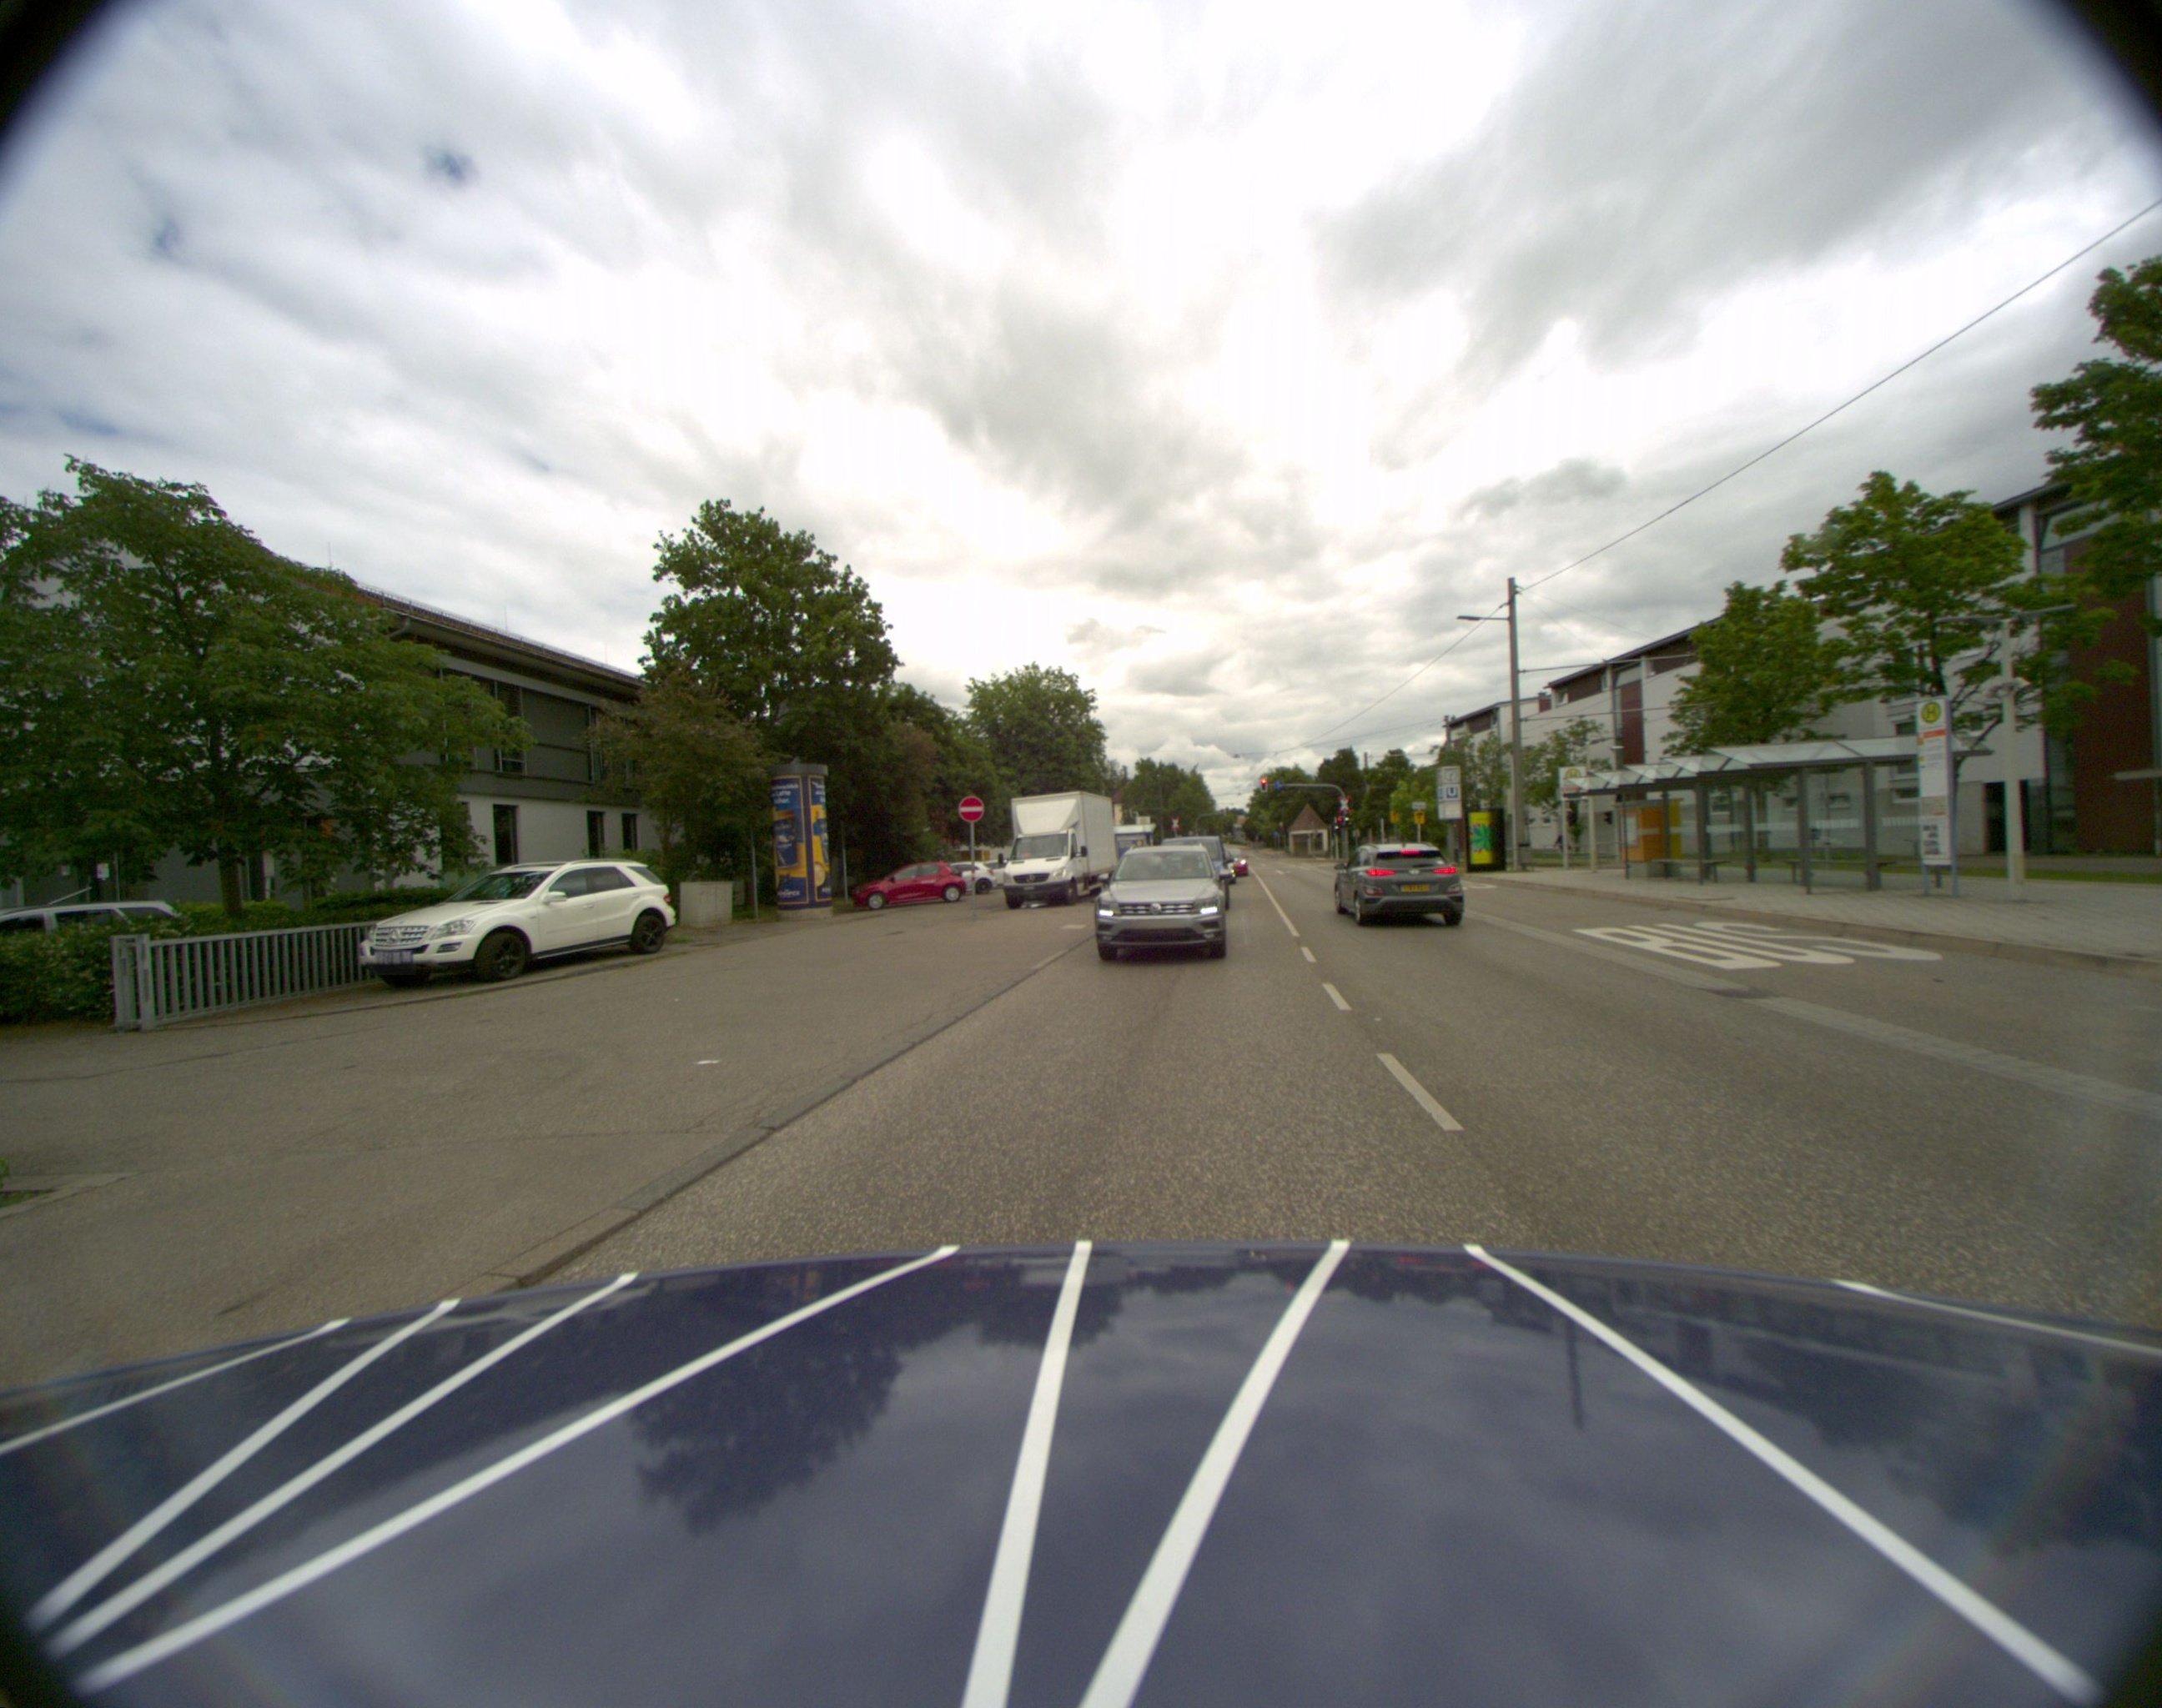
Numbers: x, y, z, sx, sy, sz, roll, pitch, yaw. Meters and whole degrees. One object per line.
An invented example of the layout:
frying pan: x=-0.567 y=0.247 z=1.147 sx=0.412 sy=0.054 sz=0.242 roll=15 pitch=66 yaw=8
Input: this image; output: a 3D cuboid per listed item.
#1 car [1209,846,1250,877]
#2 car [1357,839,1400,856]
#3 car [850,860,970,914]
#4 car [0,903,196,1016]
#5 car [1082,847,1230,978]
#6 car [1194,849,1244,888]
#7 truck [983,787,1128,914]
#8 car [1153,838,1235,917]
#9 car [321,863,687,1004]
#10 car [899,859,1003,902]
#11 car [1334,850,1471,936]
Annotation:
car: x=7.815 y=0.371 z=40.332 sx=1.848 sy=1.525 sz=4.002 roll=-2 pitch=0 yaw=7
car: x=32.411 y=-0.708 z=82.988 sx=3.994 sy=1.696 sz=1.929 roll=-3 pitch=1 yaw=8
car: x=-5.976 y=1.121 z=26.685 sx=3.899 sy=1.475 sz=1.681 roll=-5 pitch=1 yaw=-13
car: x=-17.116 y=1.726 z=11.763 sx=1.619 sy=1.475 sz=4.218 roll=-2 pitch=2 yaw=5
car: x=1.378 y=0.760 z=12.057 sx=1.810 sy=1.638 sz=4.334 roll=-3 pitch=0 yaw=12
car: x=5.928 y=0.576 z=32.983 sx=1.848 sy=1.525 sz=4.002 roll=-2 pitch=0 yaw=7
truck: x=-0.502 y=-0.165 z=24.849 sx=2.539 sy=3.407 sz=7.782 roll=-3 pitch=1 yaw=14
car: x=3.103 y=0.542 z=20.226 sx=1.848 sy=1.850 sz=4.003 roll=-3 pitch=1 yaw=12
car: x=-9.082 y=1.123 z=12.638 sx=1.855 sy=1.747 sz=4.725 roll=-3 pitch=0 yaw=11
car: x=-5.447 y=1.094 z=31.928 sx=4.003 sy=1.402 sz=1.522 roll=-5 pitch=1 yaw=-20
car: x=6.231 y=0.671 z=15.189 sx=1.771 sy=1.470 sz=4.003 roll=-1 pitch=0 yaw=12
